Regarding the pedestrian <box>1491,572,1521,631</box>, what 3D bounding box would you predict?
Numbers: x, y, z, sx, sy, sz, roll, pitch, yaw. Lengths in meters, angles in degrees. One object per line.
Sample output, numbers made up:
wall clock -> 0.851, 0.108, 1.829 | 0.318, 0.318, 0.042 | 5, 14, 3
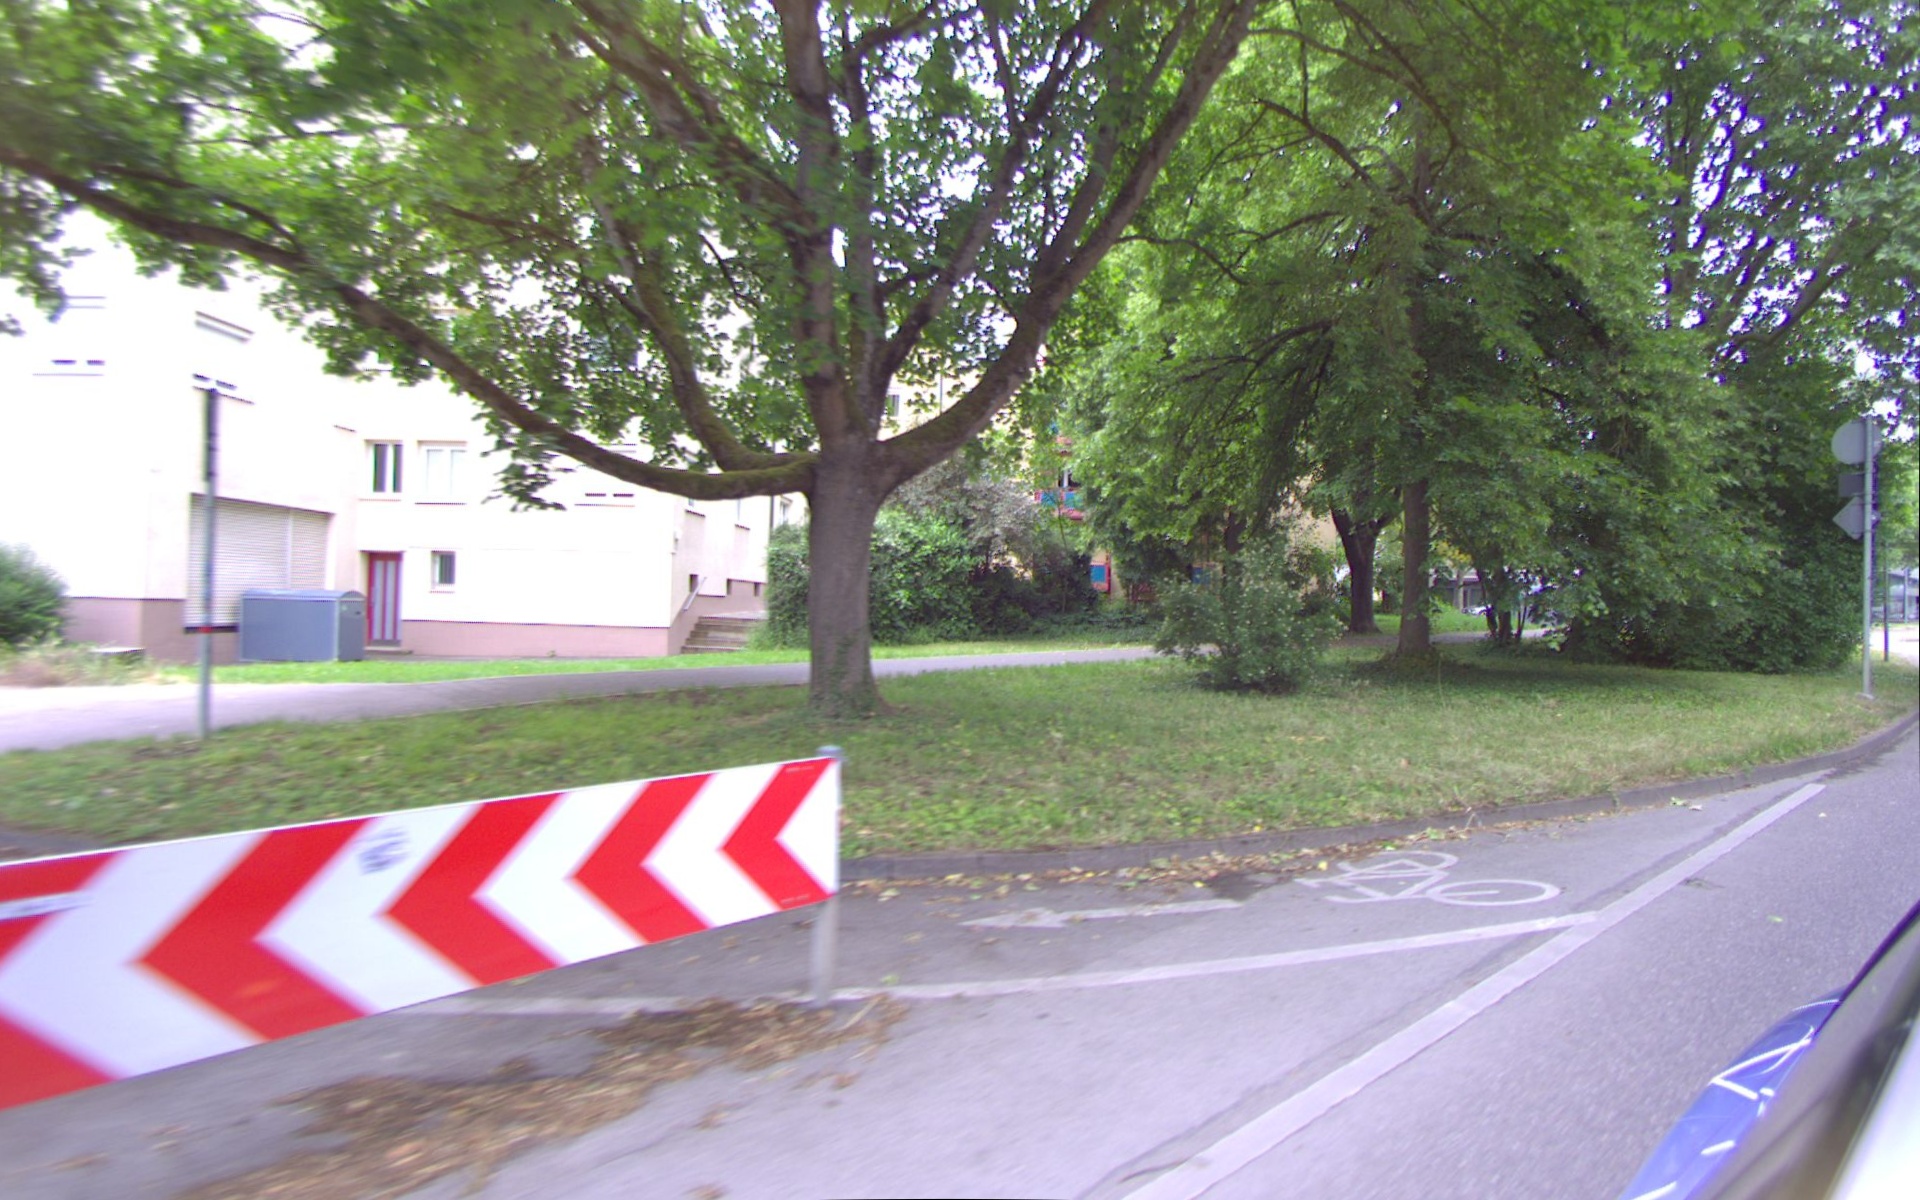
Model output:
pedestrian -> 15.842, 0.027, 29.378 | 0.647, 1.682, 0.641 | 1, 0, 39
